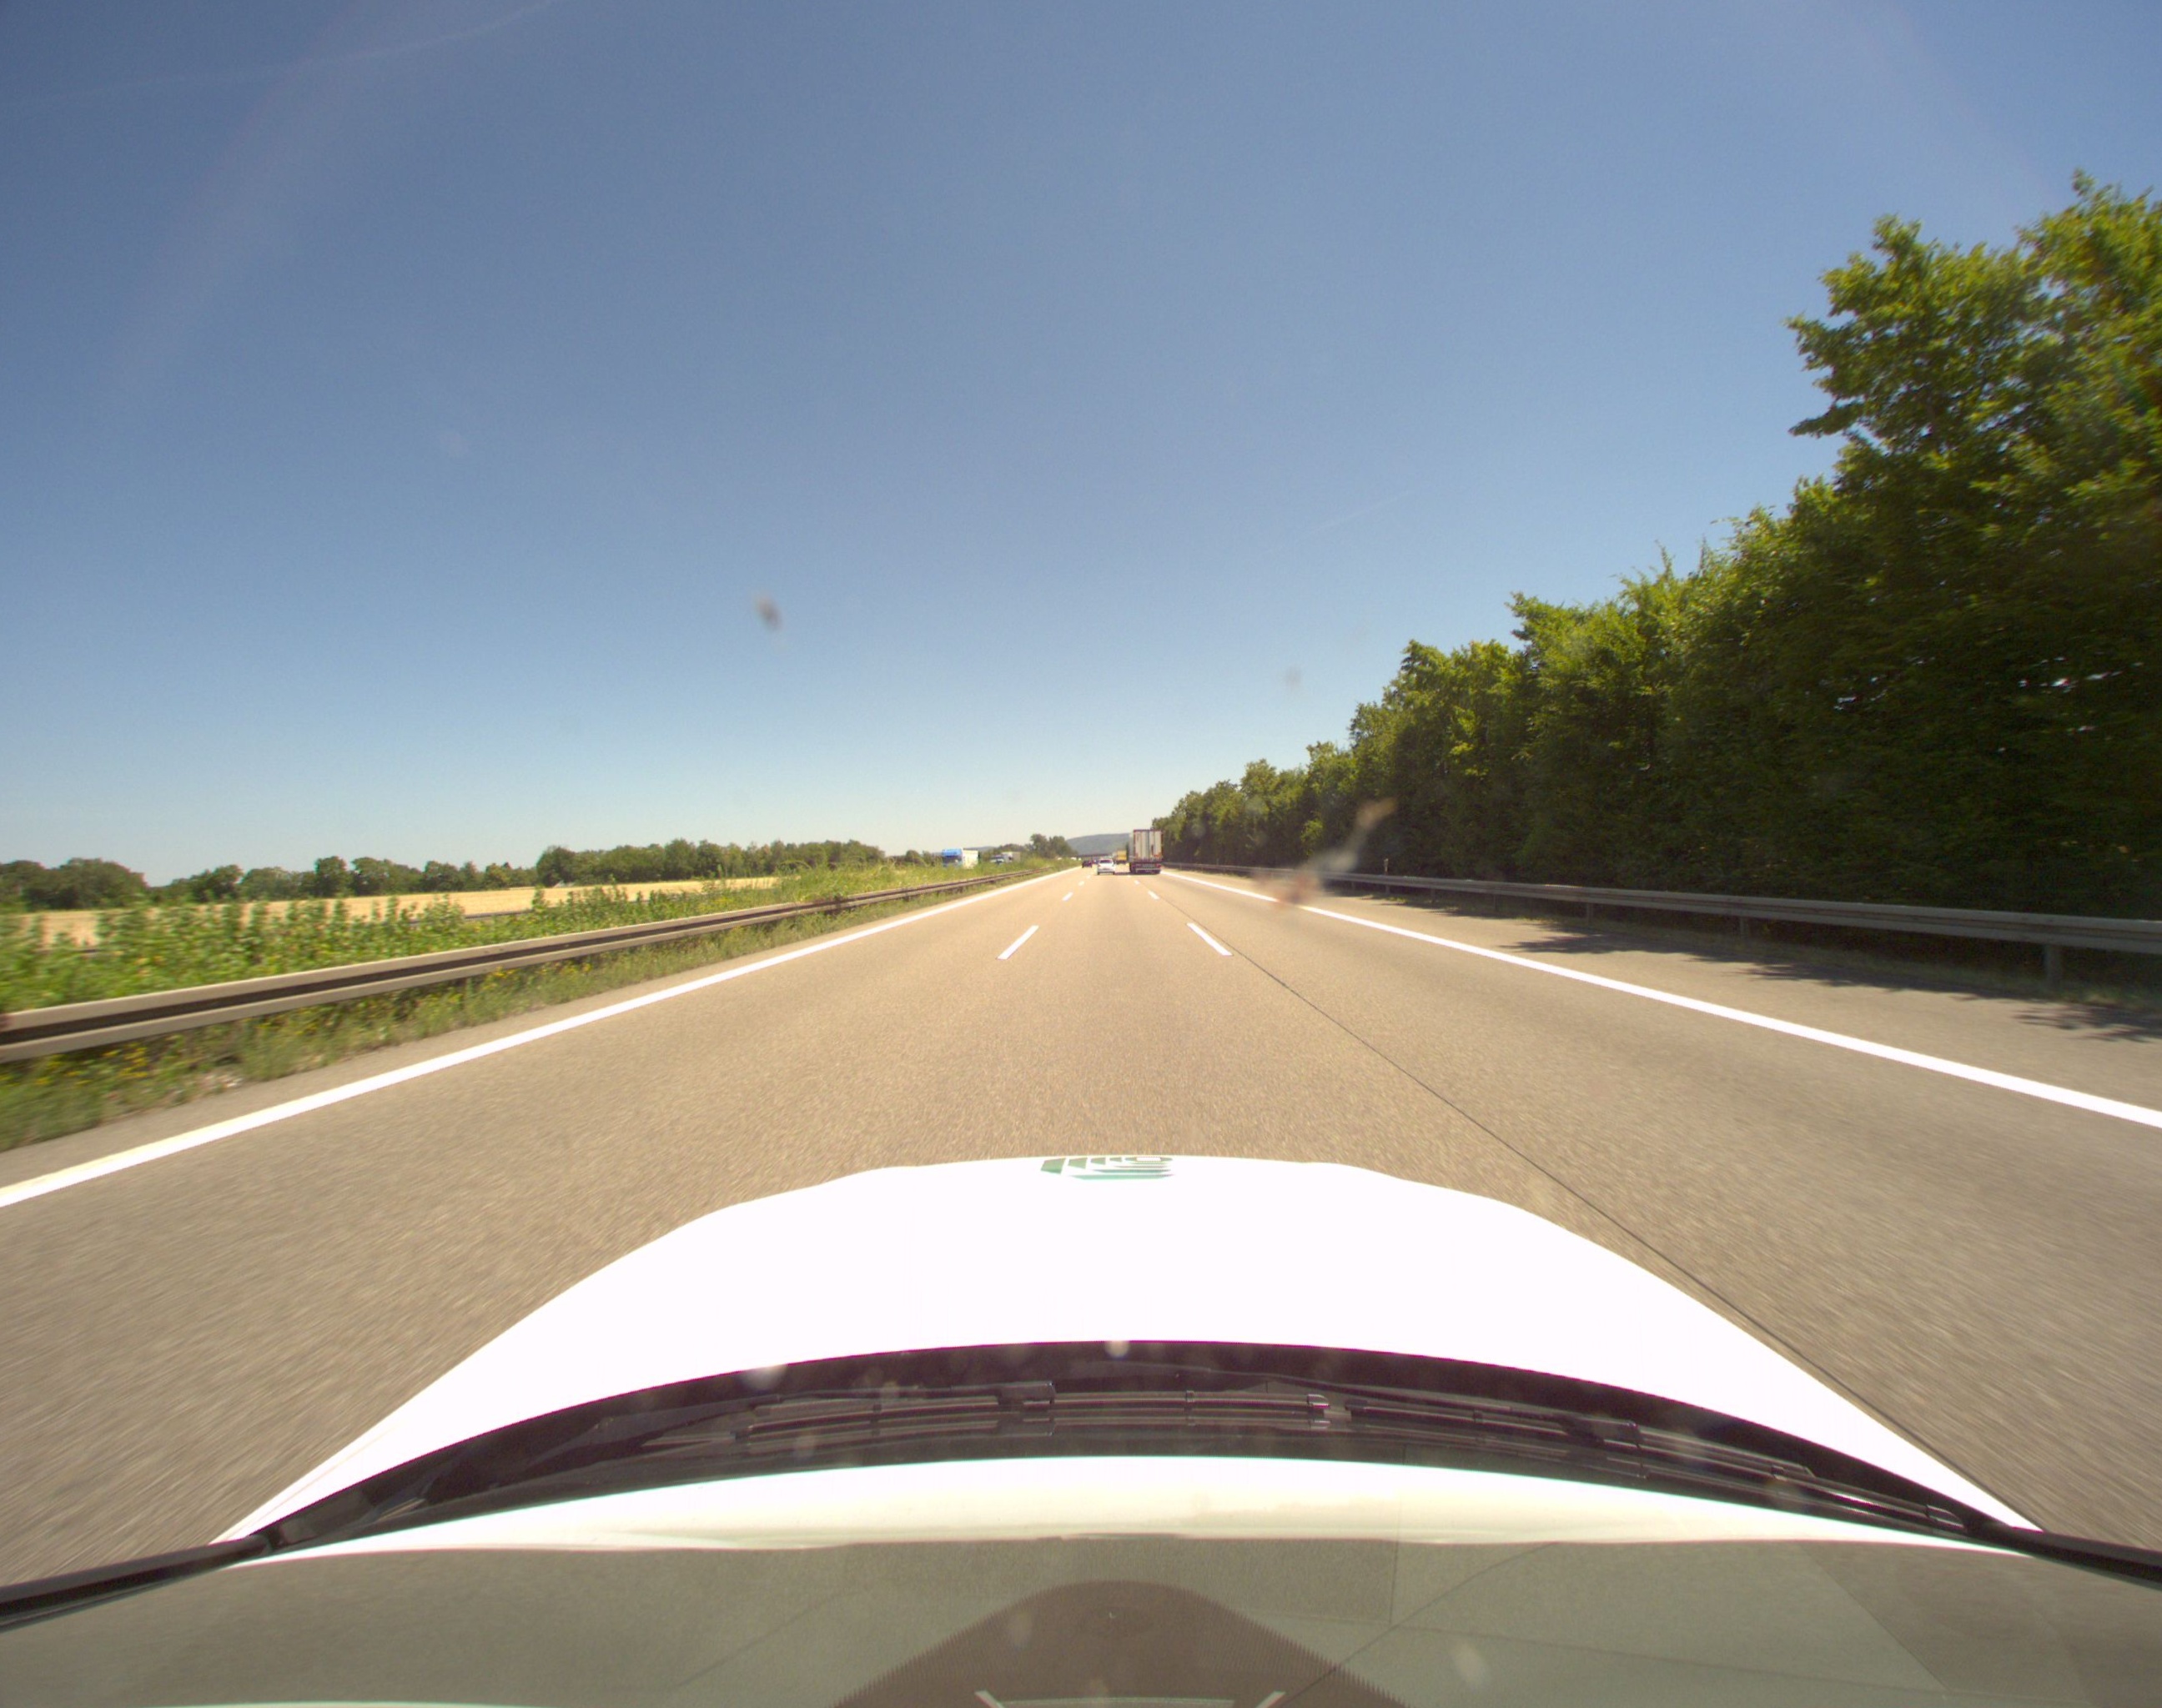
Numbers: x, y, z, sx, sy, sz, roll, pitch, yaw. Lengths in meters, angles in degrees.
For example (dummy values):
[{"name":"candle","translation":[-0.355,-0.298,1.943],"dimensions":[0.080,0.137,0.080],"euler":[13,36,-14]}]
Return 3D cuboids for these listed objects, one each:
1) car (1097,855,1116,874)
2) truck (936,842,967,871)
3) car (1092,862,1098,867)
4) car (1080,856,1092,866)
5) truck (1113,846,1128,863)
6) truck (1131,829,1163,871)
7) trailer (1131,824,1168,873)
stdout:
[{"name":"car","translation":[2.442,0.995,77.892],"dimensions":[1.726,1.684,4.001],"euler":[-2,0,1]},{"name":"truck","translation":[-17.373,0.363,109.404],"dimensions":[3.098,3.699,5.200],"euler":[0,0,2]},{"name":"car","translation":[4.073,3.044,237.002],"dimensions":[1.788,1.551,4.001],"euler":[-1,-1,2]},{"name":"car","translation":[0.922,1.310,144.940],"dimensions":[1.986,1.712,4.001],"euler":[0,0,1]},{"name":"truck","translation":[10.784,0.145,224.850],"dimensions":[3.857,4.345,13.865],"euler":[0,0,2]},{"name":"truck","translation":[6.952,-0.406,86.695],"dimensions":[3.204,4.345,6.596],"euler":[-1,0,3]},{"name":"trailer","translation":[6.497,-0.436,79.320],"dimensions":[3.204,4.345,13.641],"euler":[-1,0,3]}]
